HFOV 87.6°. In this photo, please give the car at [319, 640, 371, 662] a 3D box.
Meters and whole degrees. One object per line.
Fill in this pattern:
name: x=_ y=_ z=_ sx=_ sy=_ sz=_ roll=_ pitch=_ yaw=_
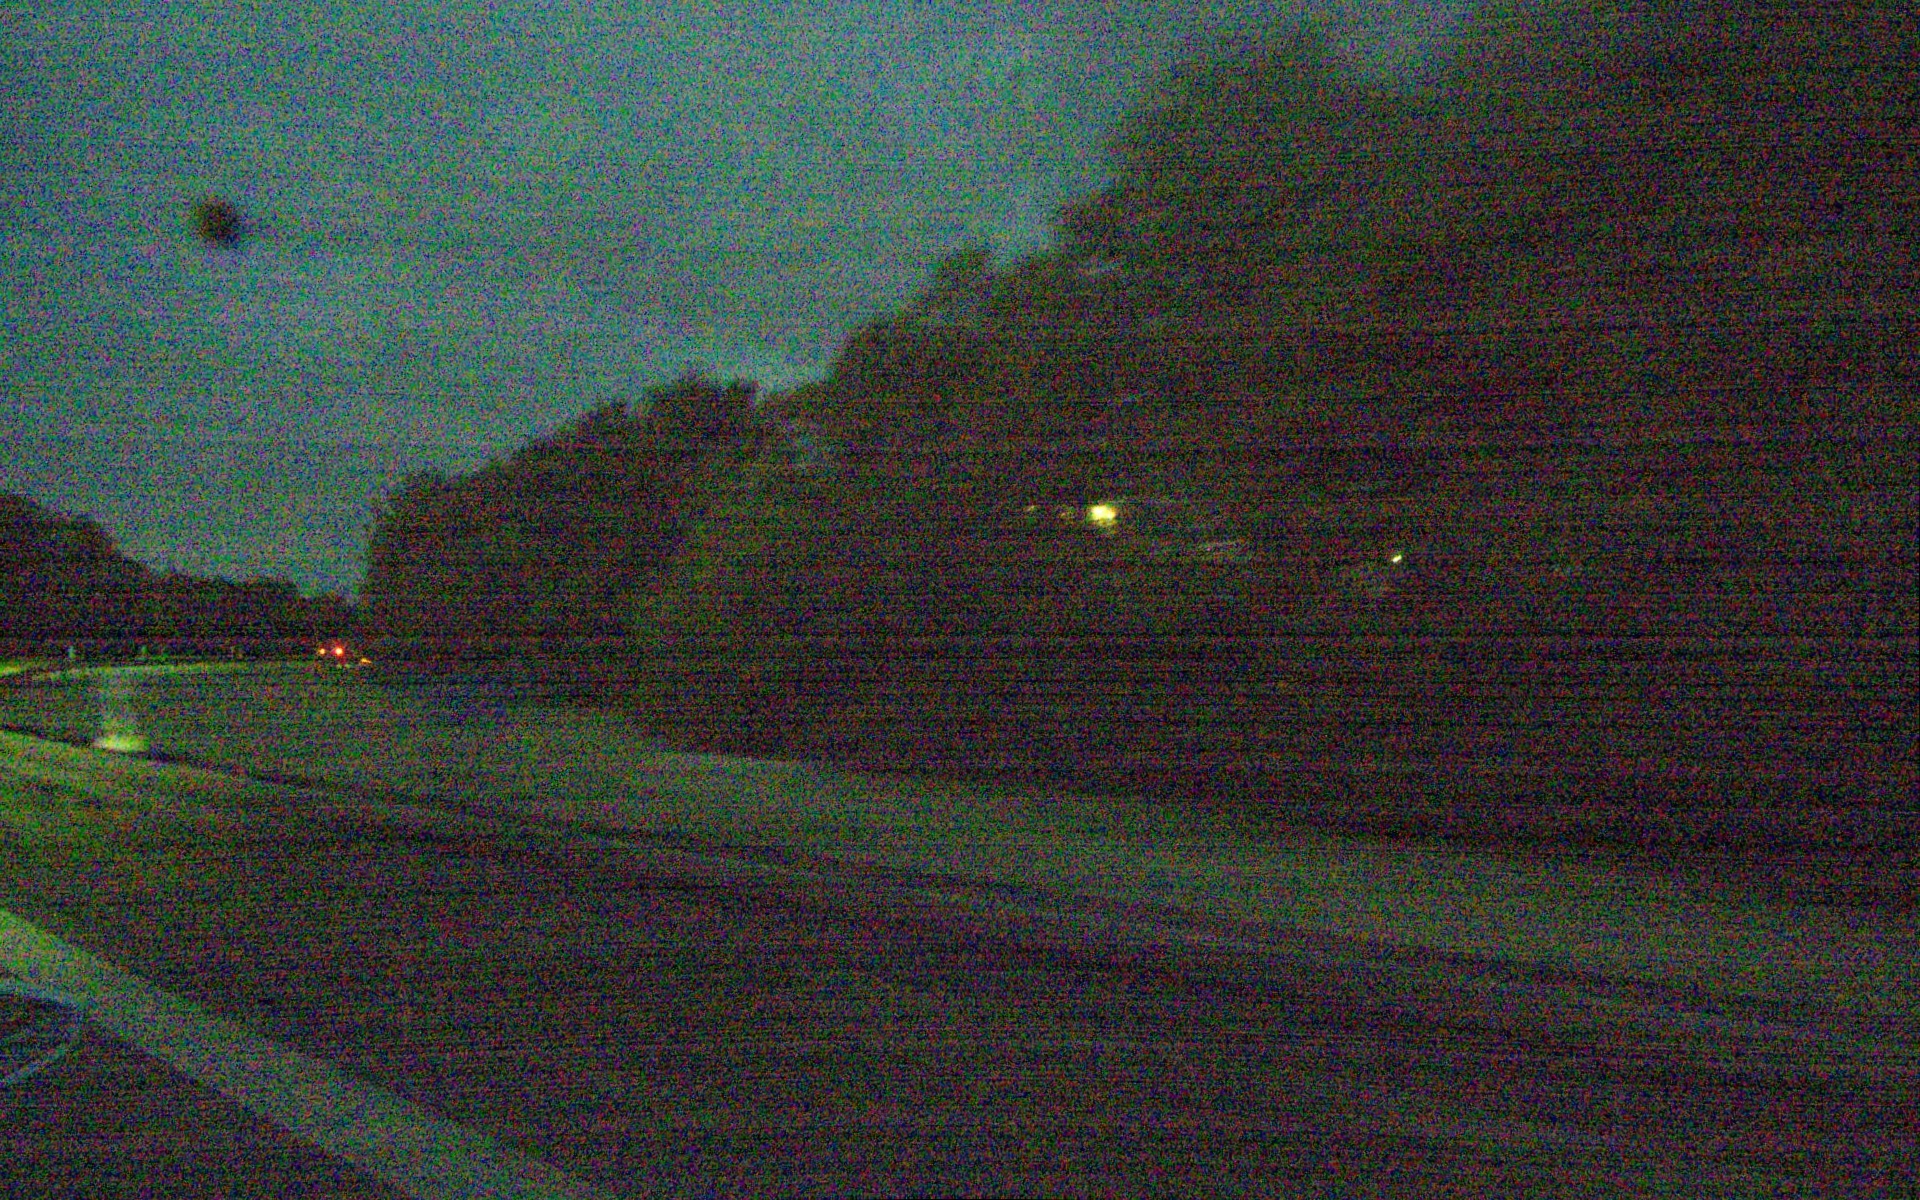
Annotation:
car: x=-47.889 y=3.928 z=78.056 sx=1.962 sy=1.618 sz=3.999 roll=1 pitch=-2 yaw=-9
